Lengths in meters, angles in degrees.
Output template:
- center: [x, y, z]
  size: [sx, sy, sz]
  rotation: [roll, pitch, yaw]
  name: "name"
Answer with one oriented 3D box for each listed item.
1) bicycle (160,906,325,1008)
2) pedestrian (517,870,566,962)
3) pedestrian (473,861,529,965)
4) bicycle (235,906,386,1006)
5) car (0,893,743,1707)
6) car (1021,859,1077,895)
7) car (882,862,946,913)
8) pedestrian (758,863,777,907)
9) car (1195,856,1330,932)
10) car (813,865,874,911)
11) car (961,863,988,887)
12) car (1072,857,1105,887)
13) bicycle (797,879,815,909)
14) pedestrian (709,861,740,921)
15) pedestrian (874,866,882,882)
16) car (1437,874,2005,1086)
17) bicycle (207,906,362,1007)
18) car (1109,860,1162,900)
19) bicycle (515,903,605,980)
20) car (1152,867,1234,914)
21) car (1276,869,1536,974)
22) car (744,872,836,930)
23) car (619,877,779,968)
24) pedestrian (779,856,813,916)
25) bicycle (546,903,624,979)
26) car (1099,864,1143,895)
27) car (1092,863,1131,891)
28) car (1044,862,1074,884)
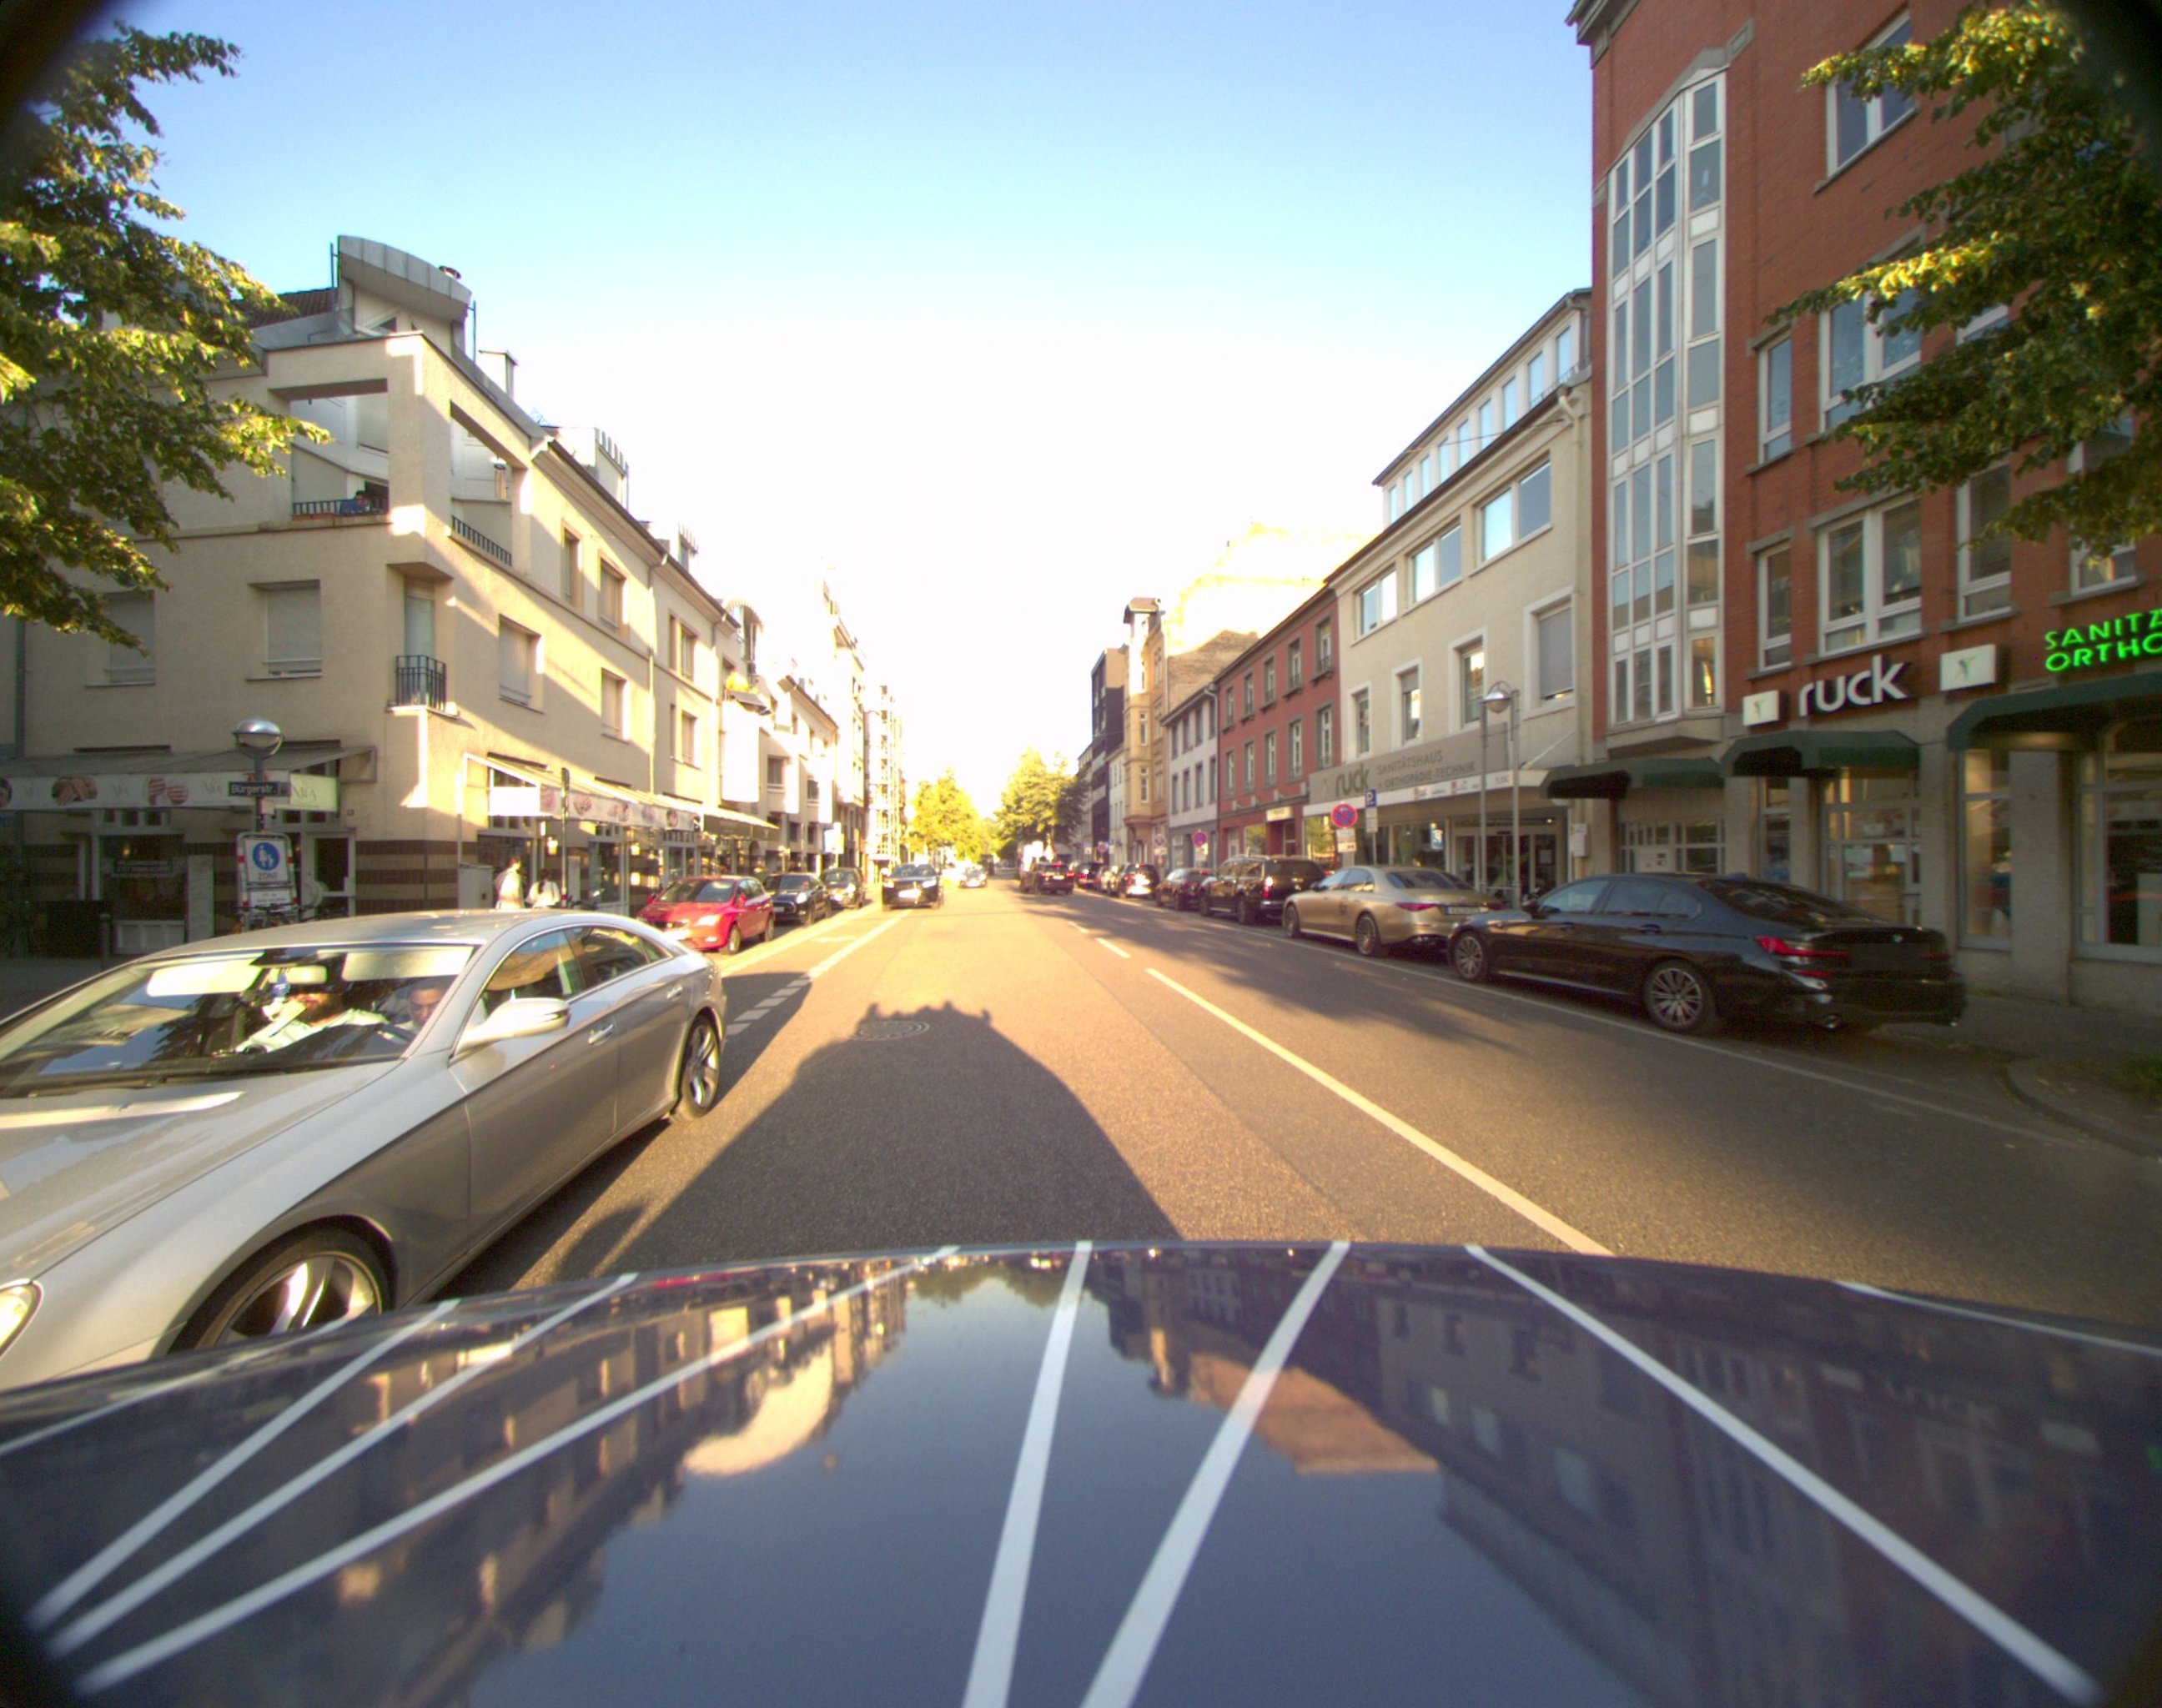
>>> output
- center: [-11.090, 1.312, 10.144]
  size: [0.322, 1.098, 1.878]
  rotation: [-1, 0, -7]
  name: "bicycle"
- center: [-9.515, 1.084, 13.414]
  size: [0.521, 1.583, 0.408]
  rotation: [2, 0, -8]
  name: "pedestrian"
- center: [-10.002, 1.001, 13.123]
  size: [0.545, 1.748, 0.502]
  rotation: [2, 0, -8]
  name: "pedestrian"
- center: [-10.298, 1.312, 10.249]
  size: [0.322, 1.098, 1.878]
  rotation: [-1, 0, -7]
  name: "bicycle"
- center: [-3.018, 1.050, 3.089]
  size: [1.748, 1.393, 4.635]
  rotation: [-2, 1, -8]
  name: "car"
- center: [-1.691, 1.115, 38.485]
  size: [1.737, 1.665, 4.289]
  rotation: [0, 0, -18]
  name: "car"
- center: [-5.949, 1.148, 27.500]
  size: [1.891, 1.626, 4.224]
  rotation: [-2, 0, -8]
  name: "car"
- center: [-12.960, 1.277, 31.426]
  size: [0.576, 1.789, 0.450]
  rotation: [-2, 1, -7]
  name: "pedestrian"
- center: [4.645, 0.970, 20.332]
  size: [1.726, 1.768, 4.935]
  rotation: [1, -1, -9]
  name: "car"
- center: [-9.049, 1.242, 29.189]
  size: [1.622, 1.583, 3.923]
  rotation: [-1, 0, -8]
  name: "car"
- center: [-6.955, 1.330, 49.854]
  size: [1.623, 1.465, 3.686]
  rotation: [-2, 0, -8]
  name: "car"
- center: [0.431, 1.130, 47.841]
  size: [1.674, 1.763, 3.563]
  rotation: [2, -1, -6]
  name: "car"
- center: [-10.601, 1.514, 29.336]
  size: [0.296, 1.079, 1.462]
  rotation: [-1, 0, -7]
  name: "bicycle"
- center: [-10.381, 1.063, 22.125]
  size: [0.631, 1.739, 0.669]
  rotation: [0, 0, -8]
  name: "pedestrian"
- center: [-16.561, 1.641, 61.981]
  size: [0.492, 1.256, 0.421]
  rotation: [-2, 1, -7]
  name: "pedestrian"
- center: [5.874, 1.010, 7.918]
  size: [1.726, 1.464, 4.538]
  rotation: [2, -1, -7]
  name: "car"
- center: [-10.609, 1.317, 10.210]
  size: [0.291, 1.098, 1.886]
  rotation: [-1, 0, -7]
  name: "bicycle"
- center: [2.449, 1.156, 35.029]
  size: [1.726, 1.673, 4.047]
  rotation: [2, -1, -6]
  name: "car"
- center: [-8.380, 1.372, 12.313]
  size: [0.315, 1.040, 1.881]
  rotation: [0, 0, -5]
  name: "bicycle"
- center: [3.812, 1.219, 26.532]
  size: [1.707, 1.429, 4.012]
  rotation: [2, -1, -8]
  name: "car"
- center: [5.354, 1.032, 13.501]
  size: [2.000, 1.463, 5.104]
  rotation: [1, -1, -6]
  name: "car"
- center: [-8.210, 1.275, 21.753]
  size: [1.622, 1.425, 3.923]
  rotation: [0, 0, -8]
  name: "car"
- center: [-7.197, 1.217, 14.740]
  size: [1.594, 1.425, 3.923]
  rotation: [0, 0, -8]
  name: "car"
- center: [-9.212, 1.031, 24.597]
  size: [0.779, 1.872, 0.669]
  rotation: [-4, 1, -8]
  name: "pedestrian"
- center: [-8.042, 1.379, 12.388]
  size: [0.315, 1.040, 1.664]
  rotation: [0, 0, -5]
  name: "bicycle"
- center: [2.060, 1.315, 40.044]
  size: [1.690, 1.461, 3.689]
  rotation: [2, -1, -6]
  name: "car"
- center: [1.720, 1.304, 43.968]
  size: [1.674, 1.448, 3.563]
  rotation: [2, -1, -6]
  name: "car"
- center: [-1.625, 1.342, 54.929]
  size: [1.674, 1.512, 3.562]
  rotation: [1, 0, -8]
  name: "car"
